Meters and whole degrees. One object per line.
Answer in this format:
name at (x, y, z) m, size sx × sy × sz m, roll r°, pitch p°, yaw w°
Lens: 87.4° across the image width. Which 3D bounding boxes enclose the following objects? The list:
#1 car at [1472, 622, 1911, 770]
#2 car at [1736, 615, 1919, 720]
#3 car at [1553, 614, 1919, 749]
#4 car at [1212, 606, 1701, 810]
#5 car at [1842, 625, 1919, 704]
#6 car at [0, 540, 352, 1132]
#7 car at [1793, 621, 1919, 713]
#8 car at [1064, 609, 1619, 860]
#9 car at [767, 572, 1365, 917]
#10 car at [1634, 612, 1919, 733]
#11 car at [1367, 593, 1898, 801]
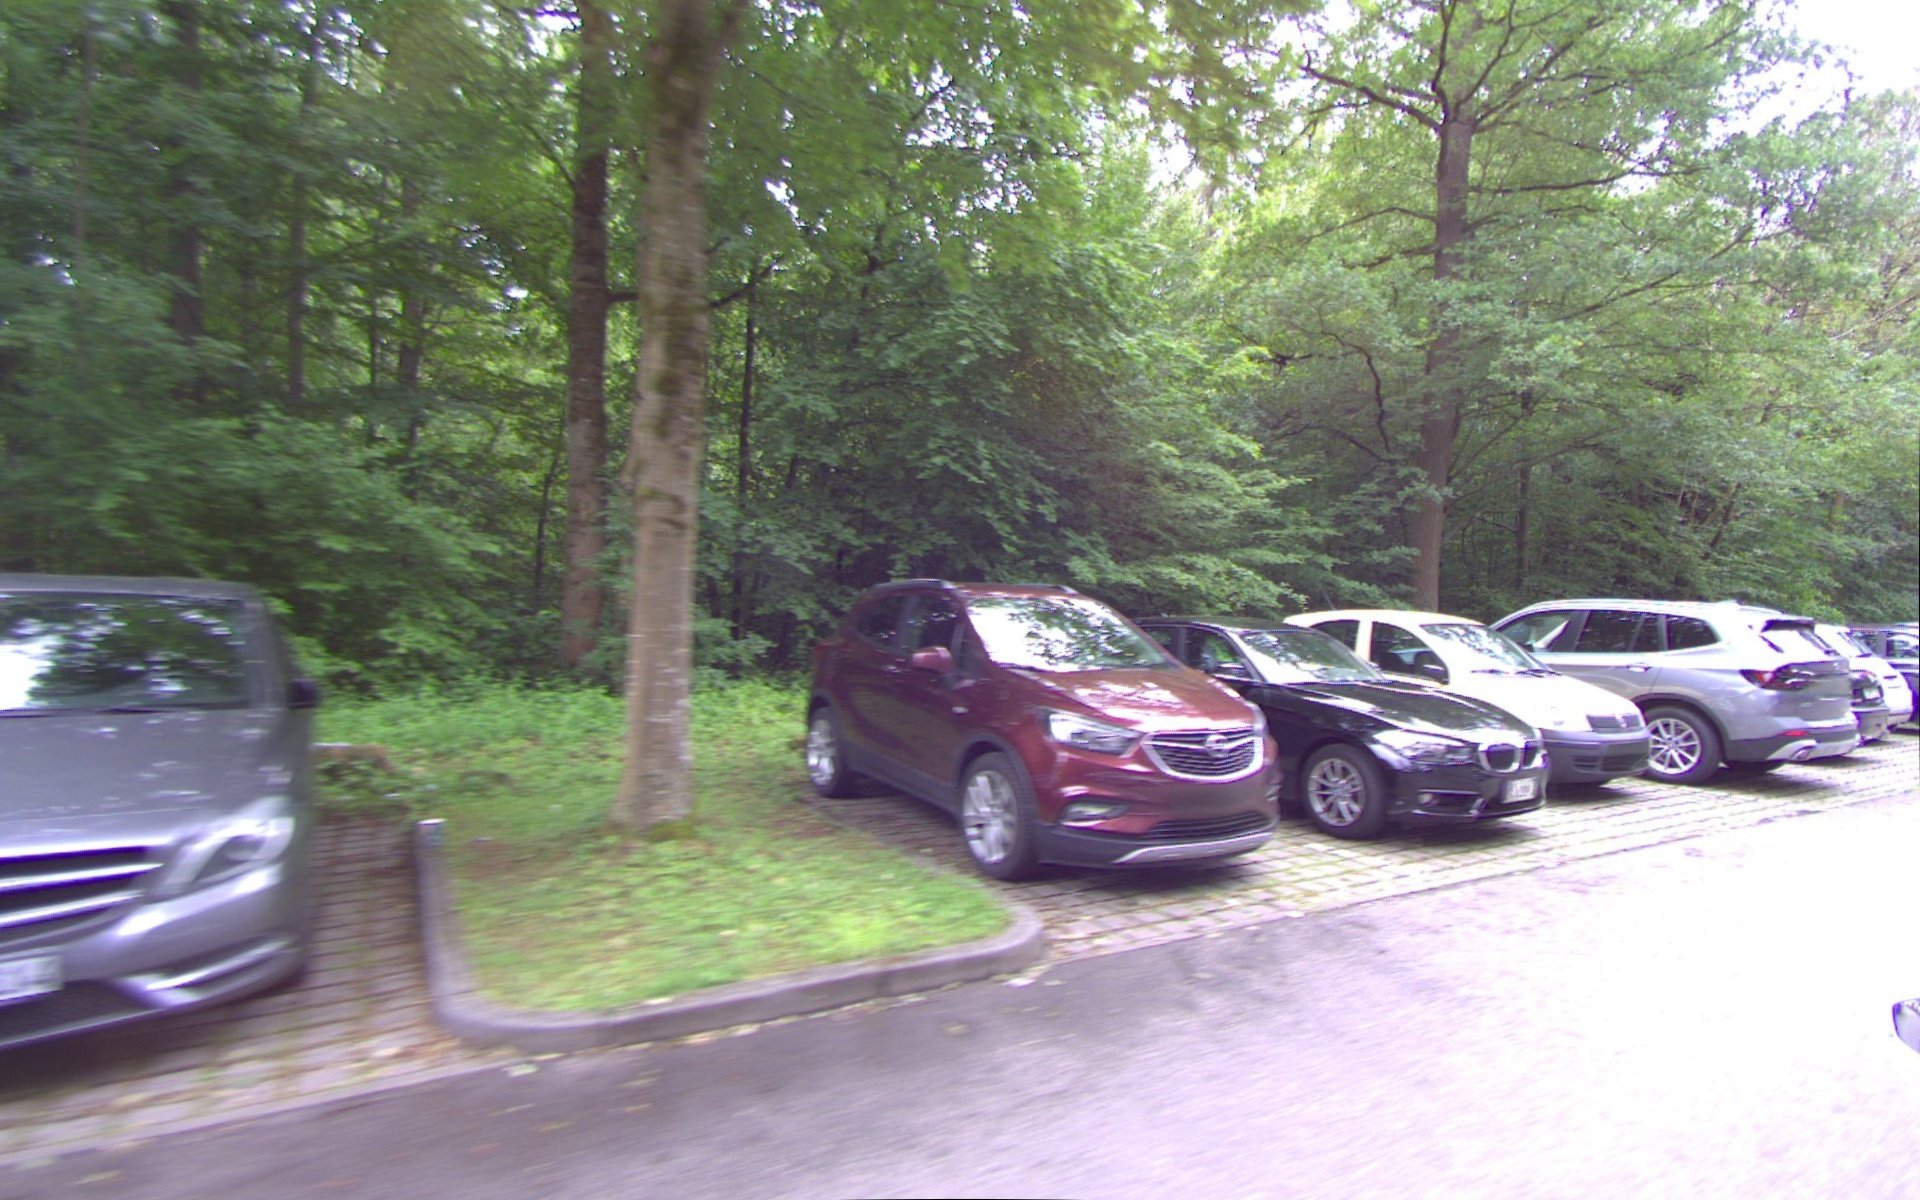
car at (8.675, 1.009, 12.264) m, size 1.791 × 1.327 × 3.955 m, roll 0°, pitch 1°, yaw -33°
car at (15.236, 1.072, 16.080) m, size 1.910 × 1.544 × 4.063 m, roll 1°, pitch 0°, yaw -34°
car at (10.662, 0.998, 13.960) m, size 1.642 × 1.470 × 3.842 m, roll 0°, pitch 1°, yaw -33°
car at (4.551, 0.848, 9.862) m, size 1.777 × 1.484 × 4.006 m, roll 1°, pitch 0°, yaw -29°
car at (19.300, 1.254, 18.582) m, size 1.941 × 1.450 × 4.090 m, roll 1°, pitch 0°, yaw -30°
car at (-3.725, 0.601, 4.291) m, size 1.898 × 1.576 × 4.012 m, roll 1°, pitch 0°, yaw -31°
car at (17.247, 1.181, 17.287) m, size 1.975 × 1.500 × 4.086 m, roll 1°, pitch 0°, yaw -32°
car at (2.760, 0.837, 8.169) m, size 1.766 × 1.382 × 3.965 m, roll 1°, pitch 1°, yaw -31°
car at (0.318, 0.665, 7.096) m, size 1.905 × 1.605 × 4.492 m, roll 1°, pitch 0°, yaw -30°
car at (12.986, 1.014, 15.092) m, size 1.816 × 1.508 × 4.380 m, roll 1°, pitch 1°, yaw -30°
car at (6.772, 0.814, 10.632) m, size 2.005 × 1.655 × 4.204 m, roll 1°, pitch 1°, yaw -30°
